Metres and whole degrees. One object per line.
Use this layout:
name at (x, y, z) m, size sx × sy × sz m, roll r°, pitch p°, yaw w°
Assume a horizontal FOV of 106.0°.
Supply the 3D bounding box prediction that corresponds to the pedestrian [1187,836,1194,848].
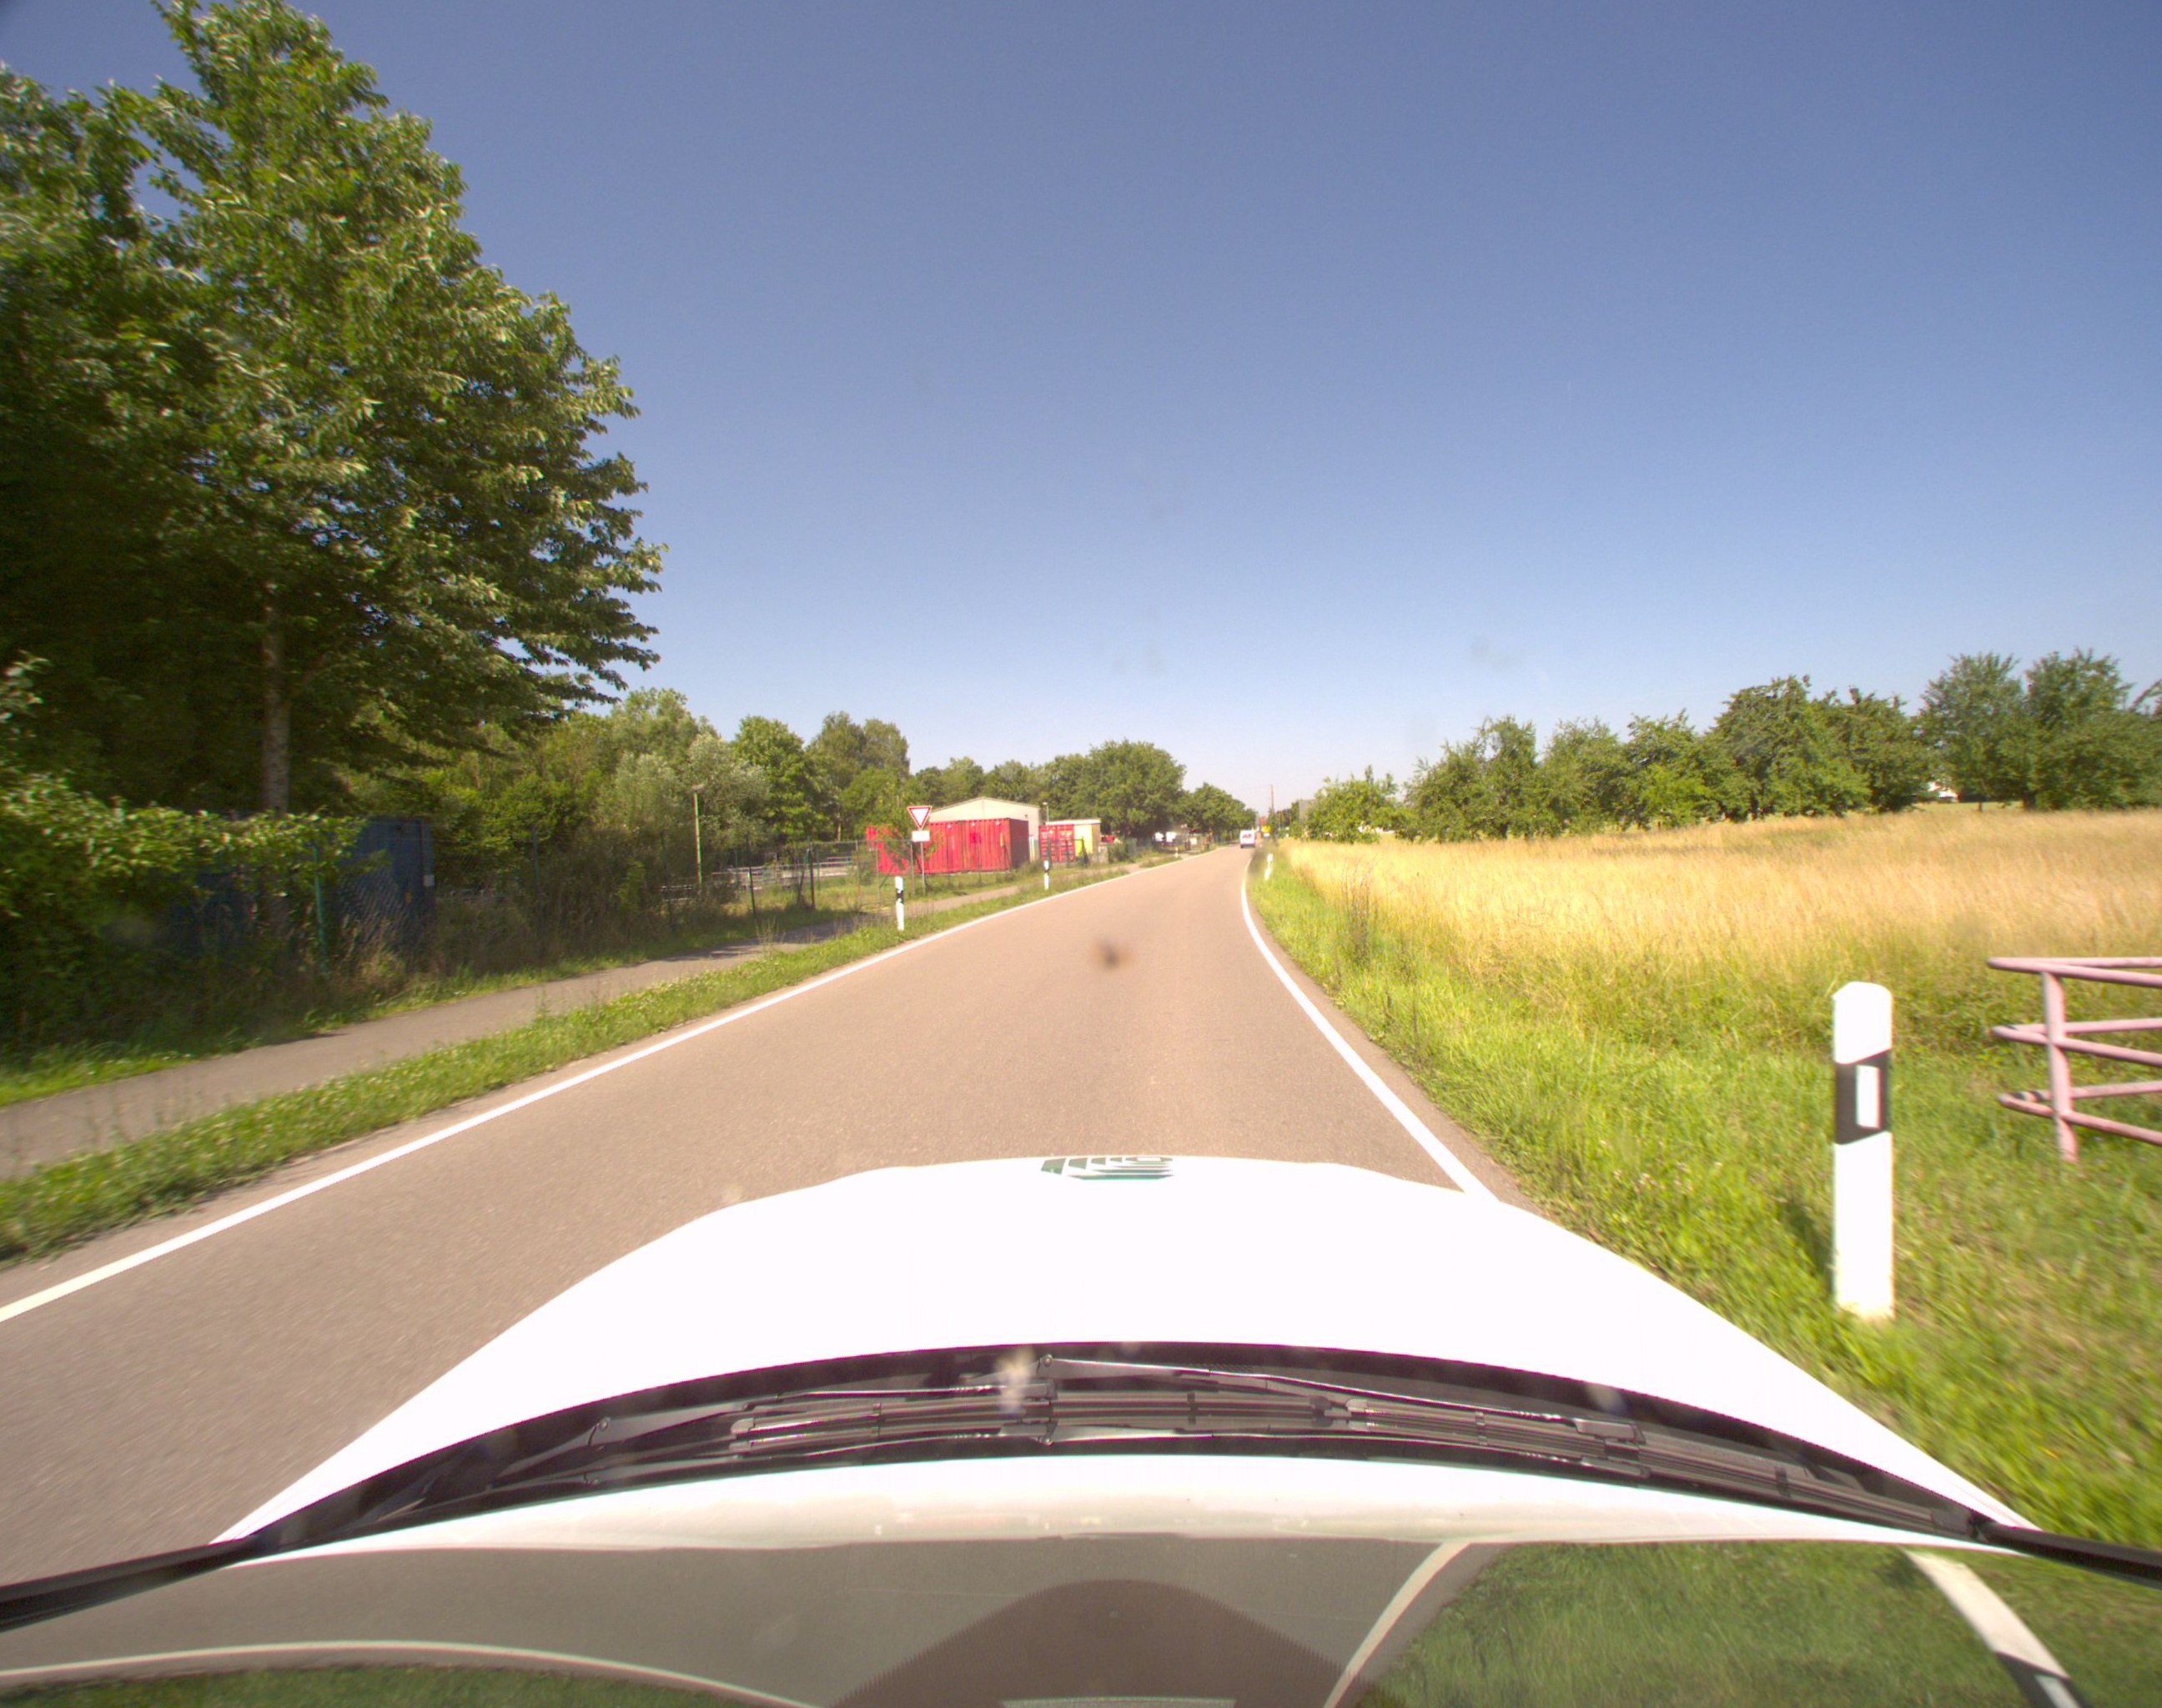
pedestrian at (16.795, -1.794, 124.810) m, size 0.712 × 1.802 × 0.715 m, roll -3°, pitch 1°, yaw 35°

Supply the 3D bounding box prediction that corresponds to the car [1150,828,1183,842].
car at (15.388, -3.375, 145.978) m, size 5.625 × 2.266 × 1.983 m, roll -4°, pitch 1°, yaw -26°

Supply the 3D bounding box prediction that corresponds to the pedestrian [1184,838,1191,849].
pedestrian at (16.211, -1.626, 124.276) m, size 0.670 × 1.566 × 0.723 m, roll -3°, pitch 1°, yaw 35°

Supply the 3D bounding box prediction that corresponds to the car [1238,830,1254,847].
car at (23.754, -2.260, 117.082) m, size 1.980 × 2.266 × 4.743 m, roll -3°, pitch 1°, yaw 13°
